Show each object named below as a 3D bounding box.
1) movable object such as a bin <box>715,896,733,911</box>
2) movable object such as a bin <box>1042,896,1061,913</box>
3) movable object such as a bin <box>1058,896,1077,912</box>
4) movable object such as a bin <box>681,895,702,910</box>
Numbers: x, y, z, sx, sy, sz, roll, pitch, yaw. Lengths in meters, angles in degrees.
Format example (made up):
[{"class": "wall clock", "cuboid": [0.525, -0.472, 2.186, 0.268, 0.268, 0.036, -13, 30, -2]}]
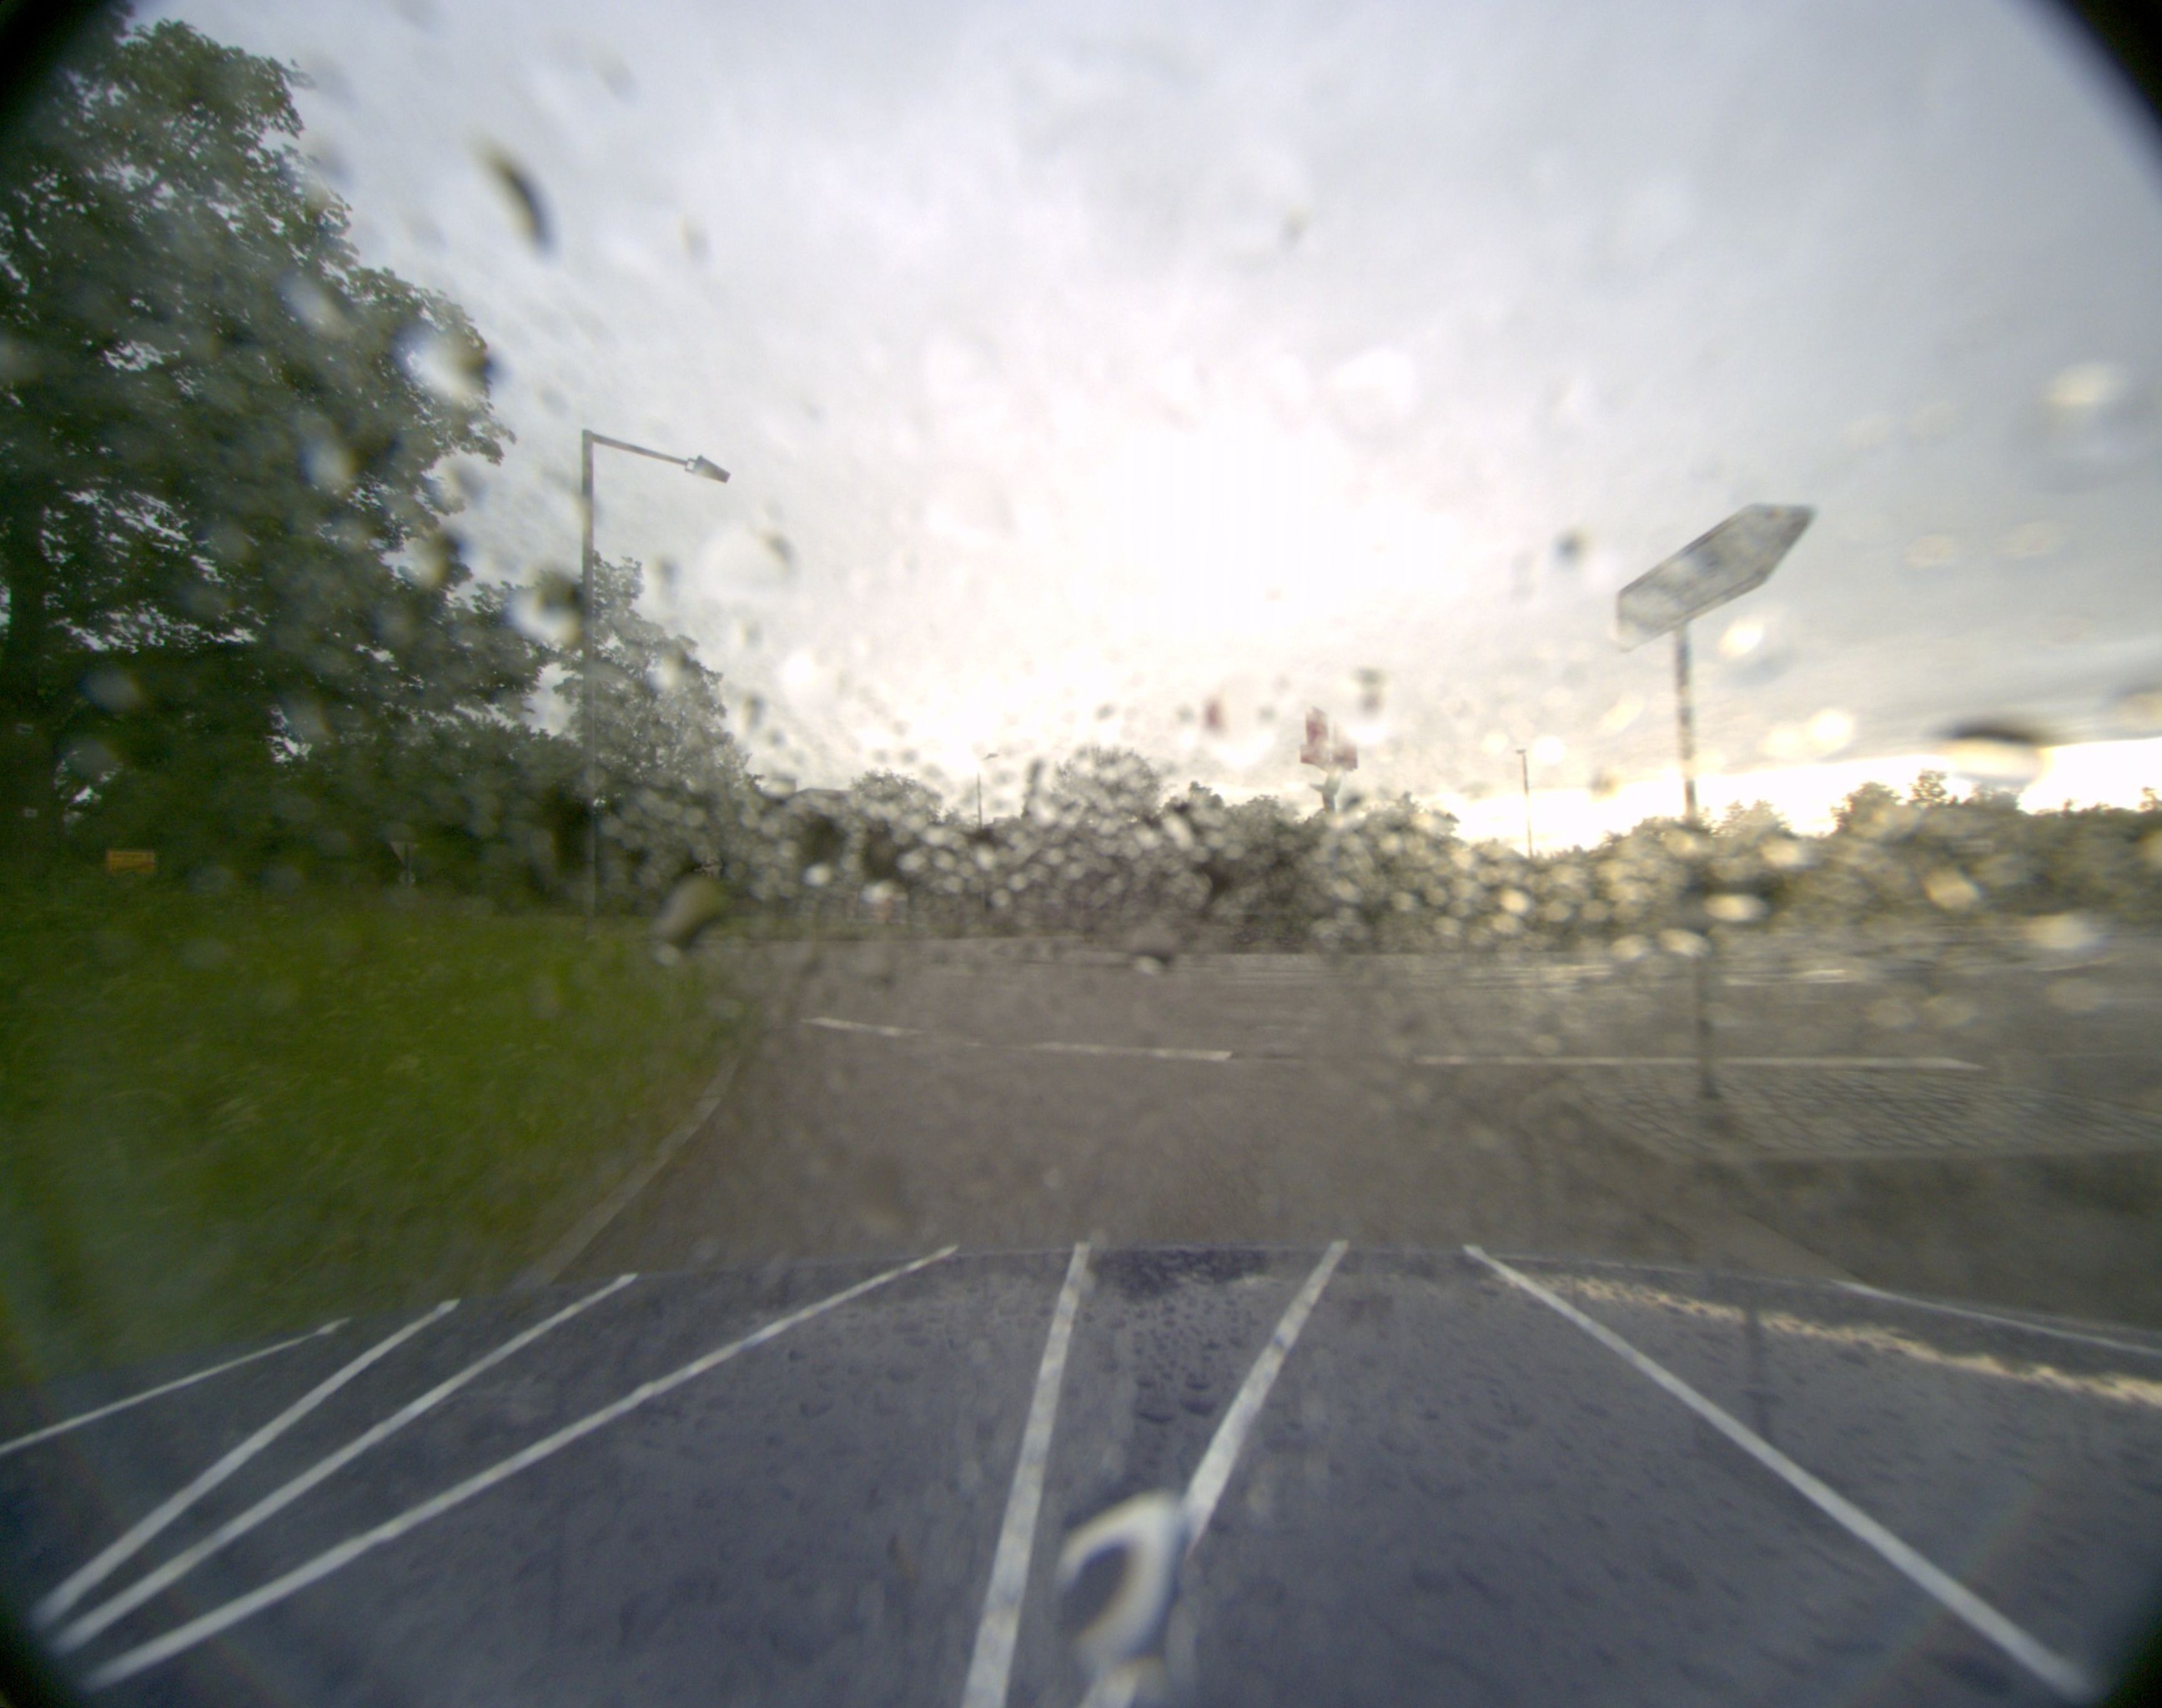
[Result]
[{"class": "movable object such as a bin", "cuboid": [-34.897, 4.868, 74.296, 1.072, 1.428, 1.200, -1, -1, 22]}, {"class": "movable object such as a bin", "cuboid": [-2.616, 4.476, 67.389, 1.072, 1.428, 1.200, -3, -2, 37]}, {"class": "movable object such as a bin", "cuboid": [-1.182, 4.412, 66.914, 1.072, 1.334, 1.200, -3, -1, 38]}, {"class": "movable object such as a bin", "cuboid": [-38.590, 4.798, 75.265, 1.425, 1.428, 1.200, -1, -3, 22]}]
